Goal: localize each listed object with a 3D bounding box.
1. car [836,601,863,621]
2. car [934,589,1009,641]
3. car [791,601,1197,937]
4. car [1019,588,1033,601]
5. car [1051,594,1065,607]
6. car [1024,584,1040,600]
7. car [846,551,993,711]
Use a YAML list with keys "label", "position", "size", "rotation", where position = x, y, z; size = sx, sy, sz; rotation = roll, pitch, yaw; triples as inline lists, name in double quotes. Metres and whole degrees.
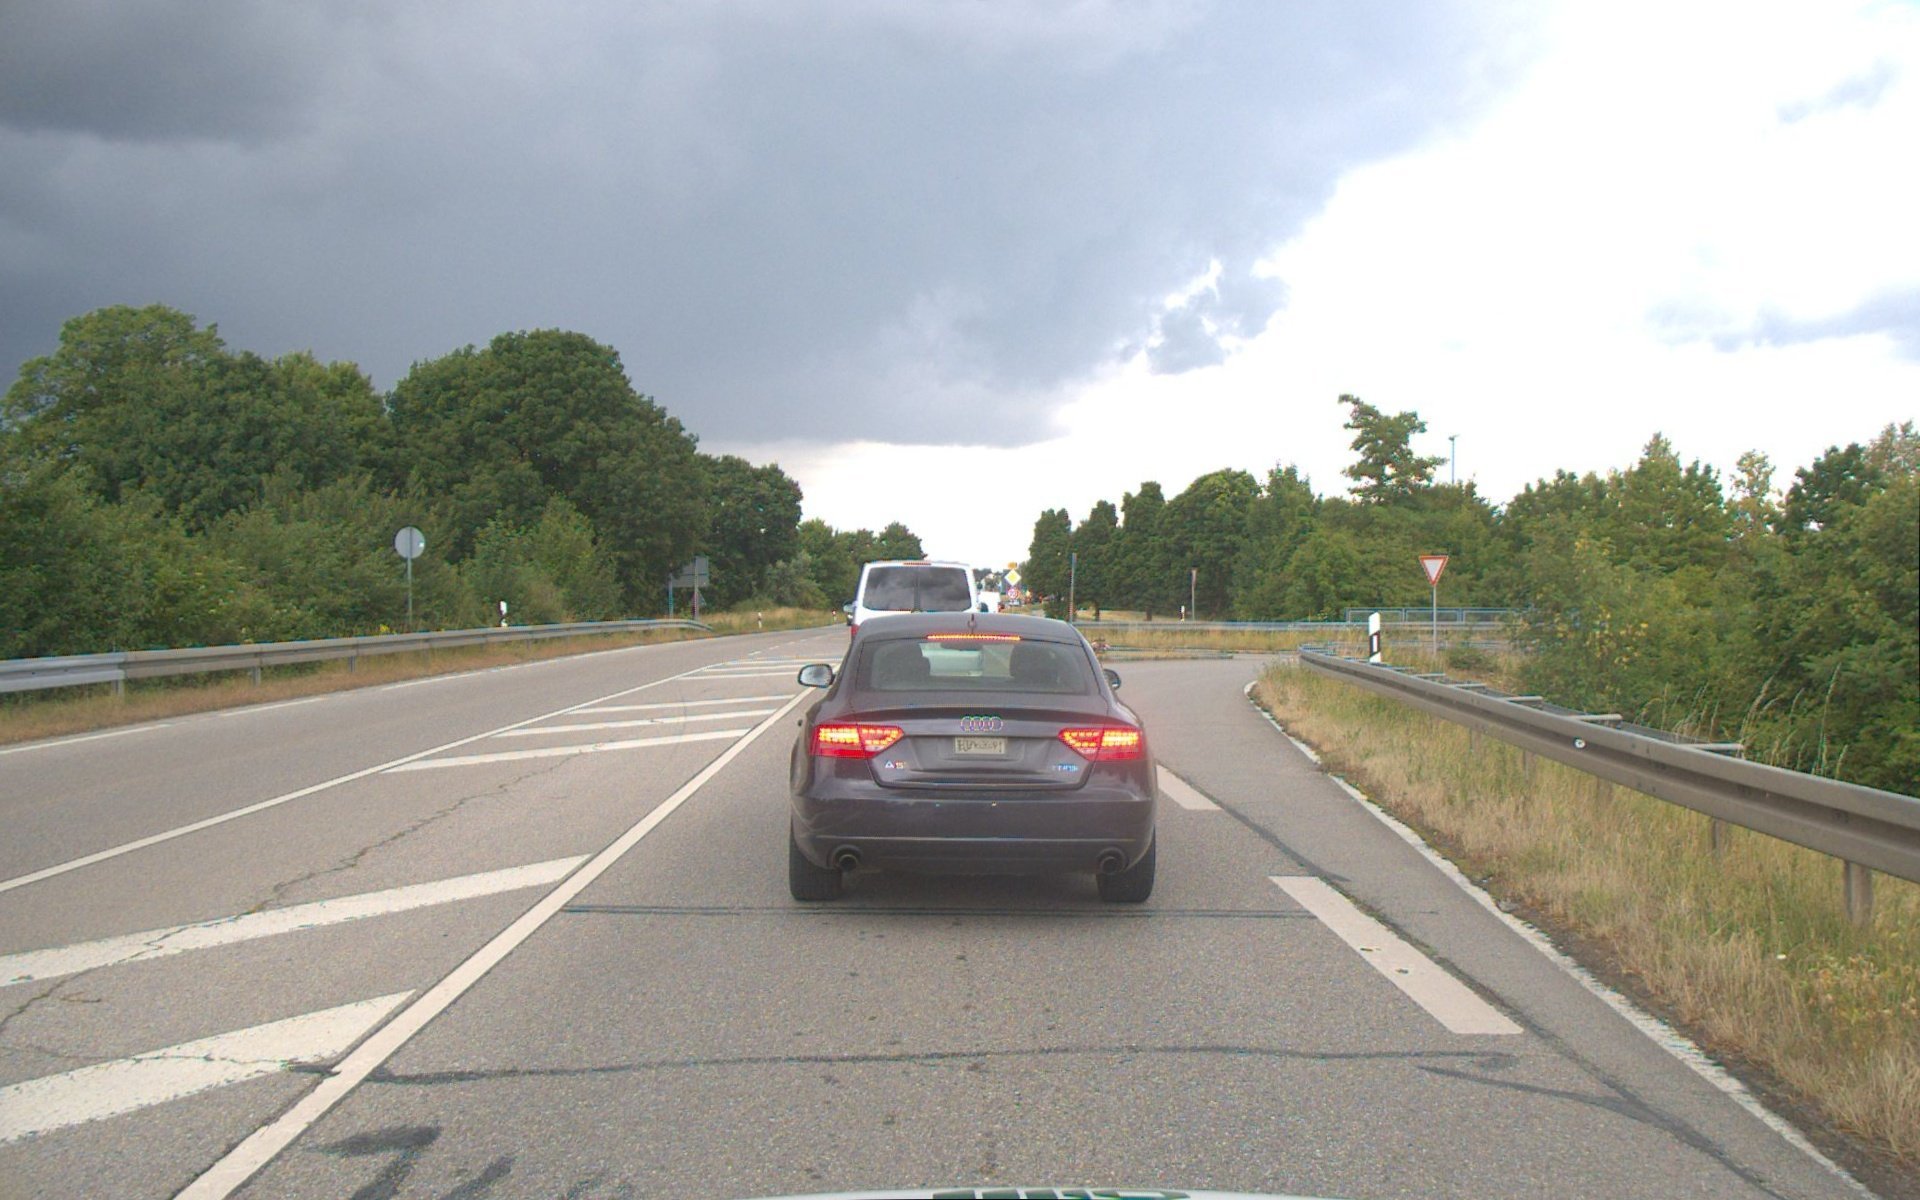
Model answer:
- label: "car"
  position: [-8.232, 0.799, 123.345]
  size: [1.761, 1.422, 3.483]
  rotation: [1, 1, -1]
- label: "car"
  position: [0.433, 0.609, 71.738]
  size: [2.046, 2.100, 4.857]
  rotation: [1, 1, -15]
- label: "car"
  position: [0.092, 0.731, 8.789]
  size: [1.744, 1.423, 3.335]
  rotation: [0, 0, -2]
- label: "car"
  position: [9.596, -0.785, 239.539]
  size: [1.952, 1.721, 4.001]
  rotation: [1, 1, 1]
- label: "car"
  position: [13.814, 0.078, 232.498]
  size: [1.836, 1.721, 4.002]
  rotation: [1, 1, 4]
- label: "car"
  position: [9.602, -1.091, 220.340]
  size: [1.952, 2.049, 4.000]
  rotation: [1, 1, 1]
- label: "car"
  position: [-0.589, 0.385, 23.452]
  size: [1.872, 2.049, 3.999]
  rotation: [1, 1, -2]
